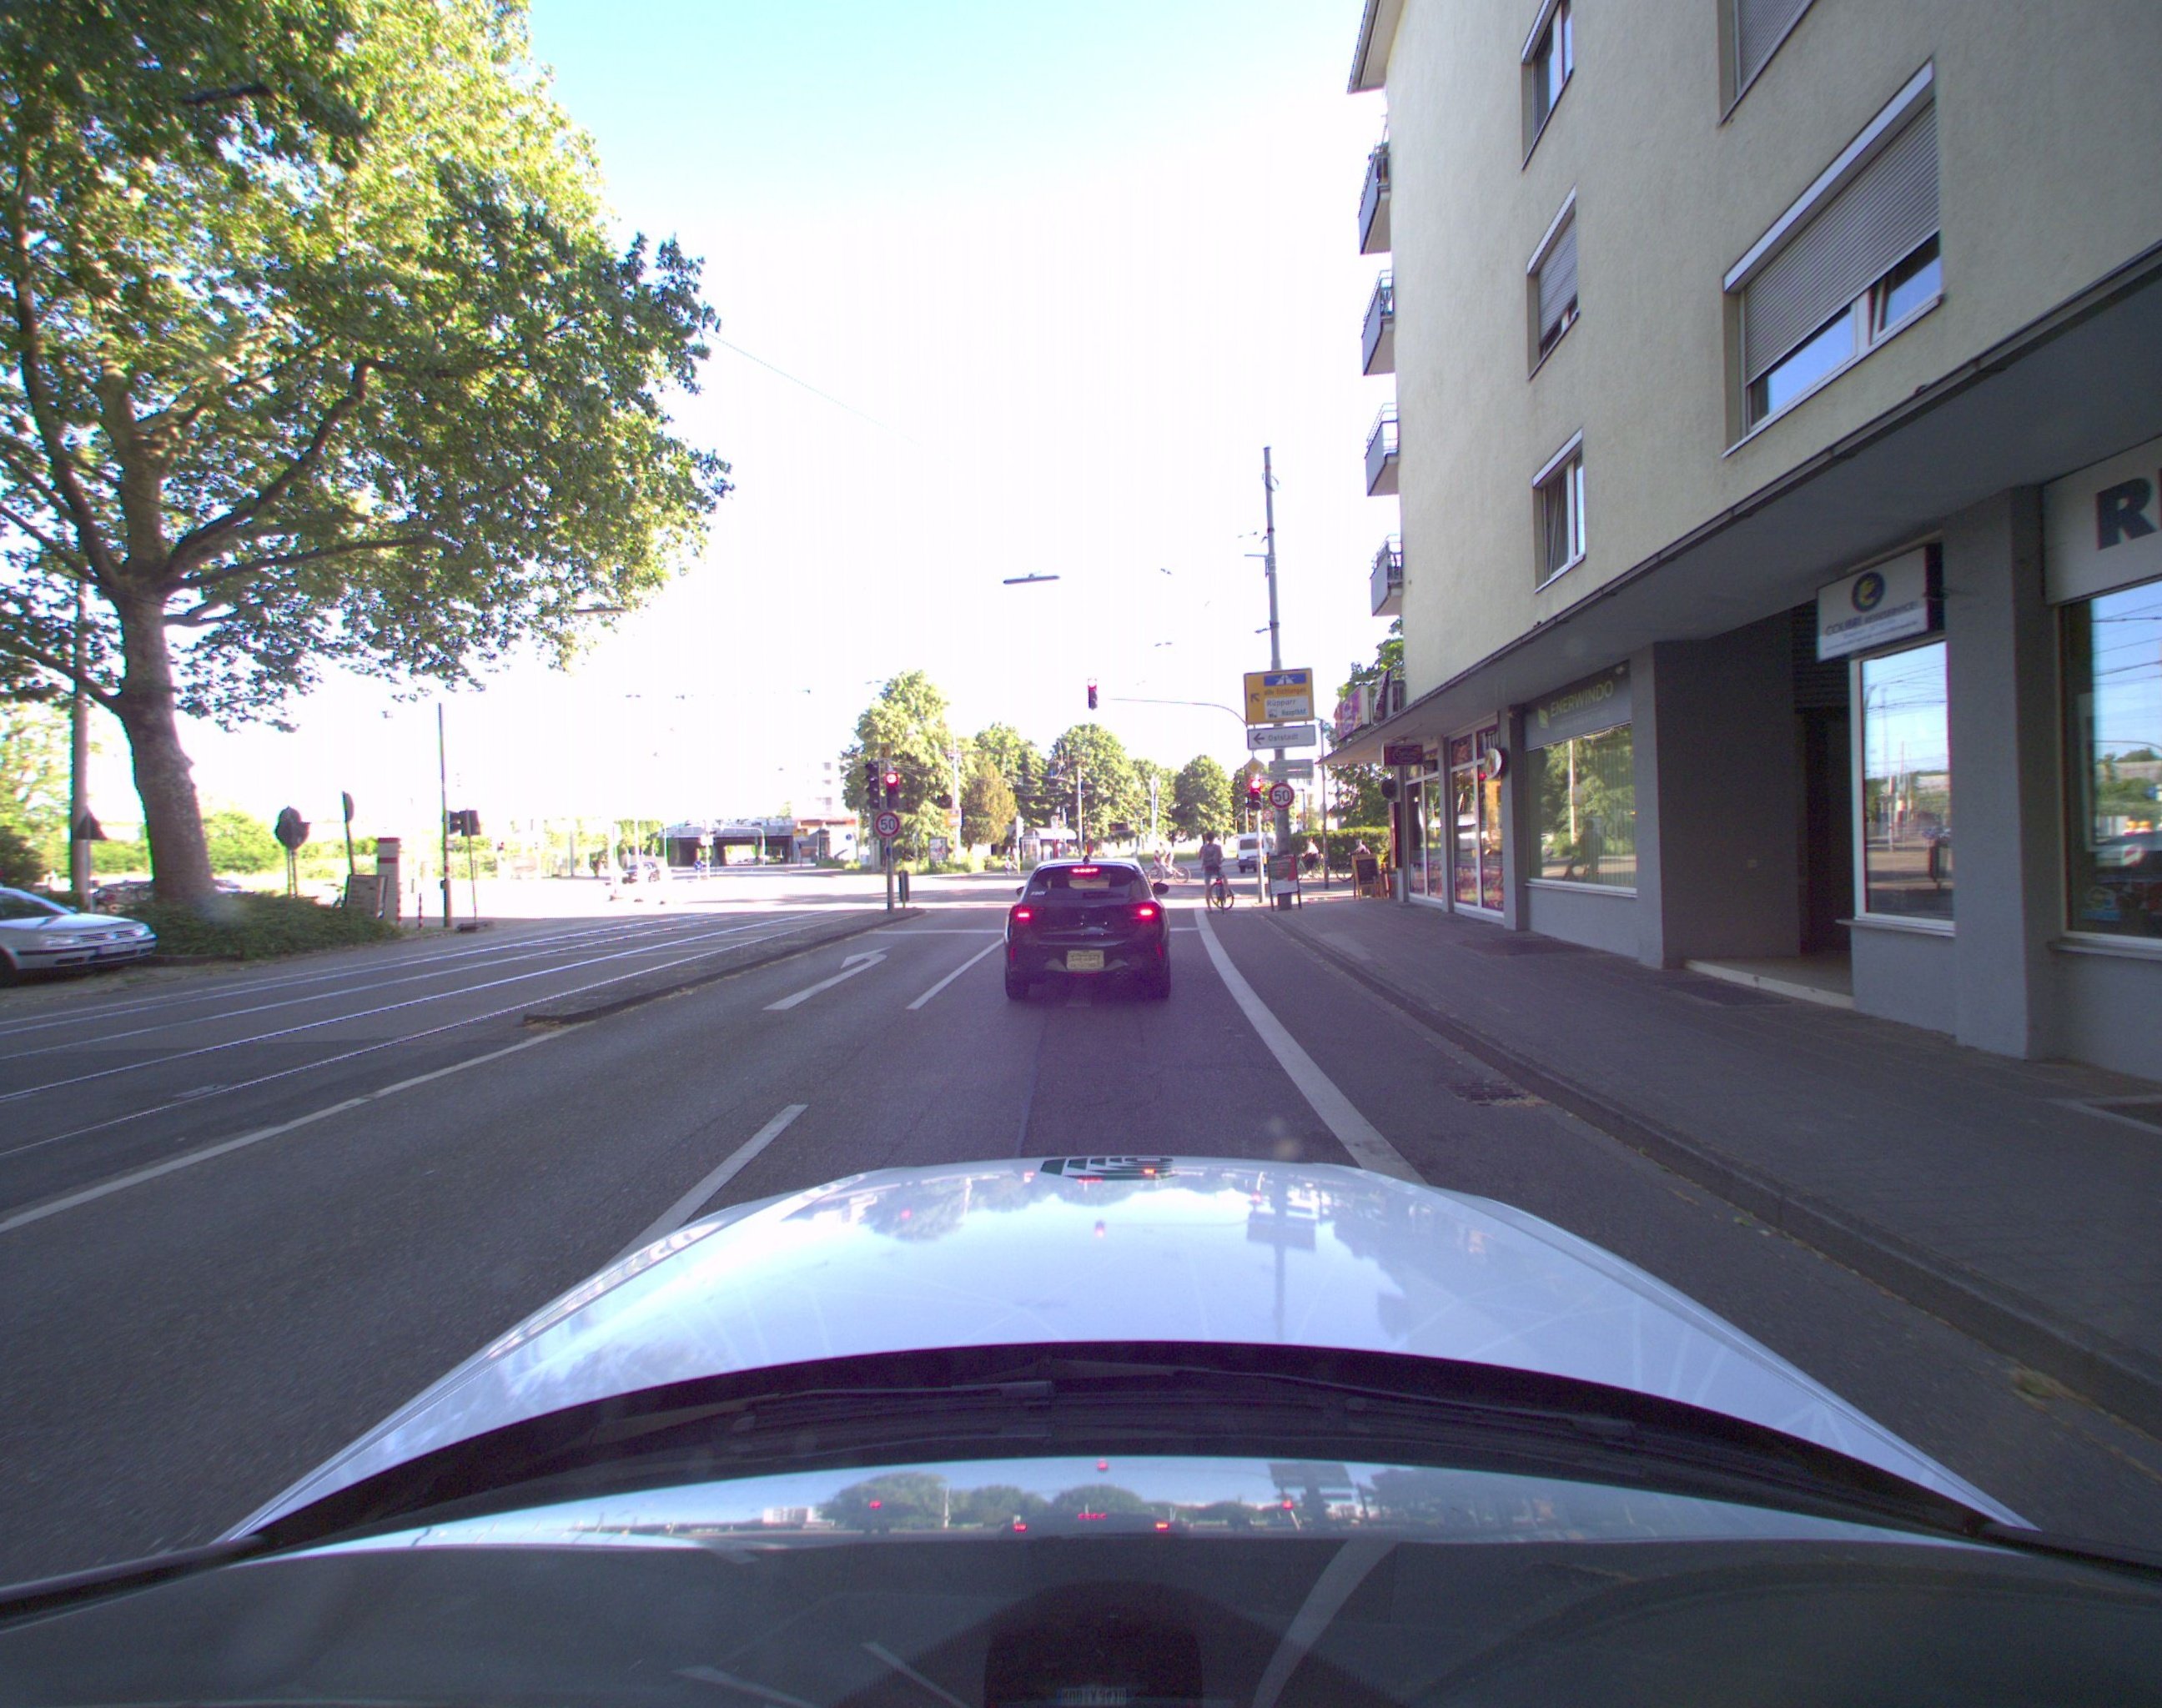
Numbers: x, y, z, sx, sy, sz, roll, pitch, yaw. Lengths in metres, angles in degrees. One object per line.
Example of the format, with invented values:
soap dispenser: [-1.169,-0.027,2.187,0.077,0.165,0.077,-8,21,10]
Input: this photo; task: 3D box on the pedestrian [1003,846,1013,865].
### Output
pedestrian: [-6.171,0.120,68.890,0.746,1.630,0.599,0,-1,9]

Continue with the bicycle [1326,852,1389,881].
bicycle: [10.776,0.479,31.760,2.192,1.033,0.831,-2,0,-11]

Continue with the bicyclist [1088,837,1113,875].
bicyclist: [0.899,0.084,37.165,0.920,1.707,0.879,-2,0,14]

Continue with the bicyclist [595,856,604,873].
bicyclist: [-43.253,0.944,73.121,0.639,1.563,0.825,-2,0,-31]

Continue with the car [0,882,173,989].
car: [-16.884,1.188,12.285,4.496,1.429,1.676,0,0,0]

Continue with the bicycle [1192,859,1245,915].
bicycle: [3.117,0.718,18.629,0.857,1.153,2.173,-2,0,2]

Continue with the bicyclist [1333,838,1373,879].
bicyclist: [10.590,0.178,31.723,1.113,1.520,0.918,-2,0,-11]

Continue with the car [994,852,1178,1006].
car: [0.127,0.704,9.772,1.720,1.429,4.189,-1,0,2]

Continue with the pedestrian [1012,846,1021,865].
pedestrian: [-5.447,0.116,68.757,0.633,1.630,0.573,0,-1,9]

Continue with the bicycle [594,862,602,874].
bicycle: [-43.296,1.282,73.004,0.585,1.060,2.022,-2,0,-30]

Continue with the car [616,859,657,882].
car: [-31.082,1.144,57.069,1.830,1.519,3.870,0,0,-18]

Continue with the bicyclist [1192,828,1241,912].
bicyclist: [3.104,0.353,18.690,0.938,1.851,0.864,-2,0,1]

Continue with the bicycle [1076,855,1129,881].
bicycle: [0.984,0.638,37.158,2.276,1.084,0.804,-2,0,14]

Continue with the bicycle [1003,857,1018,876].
bicycle: [-4.129,0.707,47.625,0.603,1.031,1.983,-2,0,2]

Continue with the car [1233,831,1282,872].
car: [10.320,-0.176,47.228,2.046,2.248,4.912,-2,0,20]

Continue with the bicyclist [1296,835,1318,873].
bicyclist: [9.509,-0.003,34.264,0.854,1.595,0.652,-2,0,15]

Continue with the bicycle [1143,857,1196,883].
bicycle: [3.631,0.663,33.440,2.044,0.984,0.675,-2,0,13]

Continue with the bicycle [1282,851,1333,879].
bicycle: [9.536,0.468,34.278,2.039,1.094,0.595,-2,0,15]

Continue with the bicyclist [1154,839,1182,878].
bicyclist: [3.582,0.177,33.465,1.003,1.570,0.802,-2,0,13]
